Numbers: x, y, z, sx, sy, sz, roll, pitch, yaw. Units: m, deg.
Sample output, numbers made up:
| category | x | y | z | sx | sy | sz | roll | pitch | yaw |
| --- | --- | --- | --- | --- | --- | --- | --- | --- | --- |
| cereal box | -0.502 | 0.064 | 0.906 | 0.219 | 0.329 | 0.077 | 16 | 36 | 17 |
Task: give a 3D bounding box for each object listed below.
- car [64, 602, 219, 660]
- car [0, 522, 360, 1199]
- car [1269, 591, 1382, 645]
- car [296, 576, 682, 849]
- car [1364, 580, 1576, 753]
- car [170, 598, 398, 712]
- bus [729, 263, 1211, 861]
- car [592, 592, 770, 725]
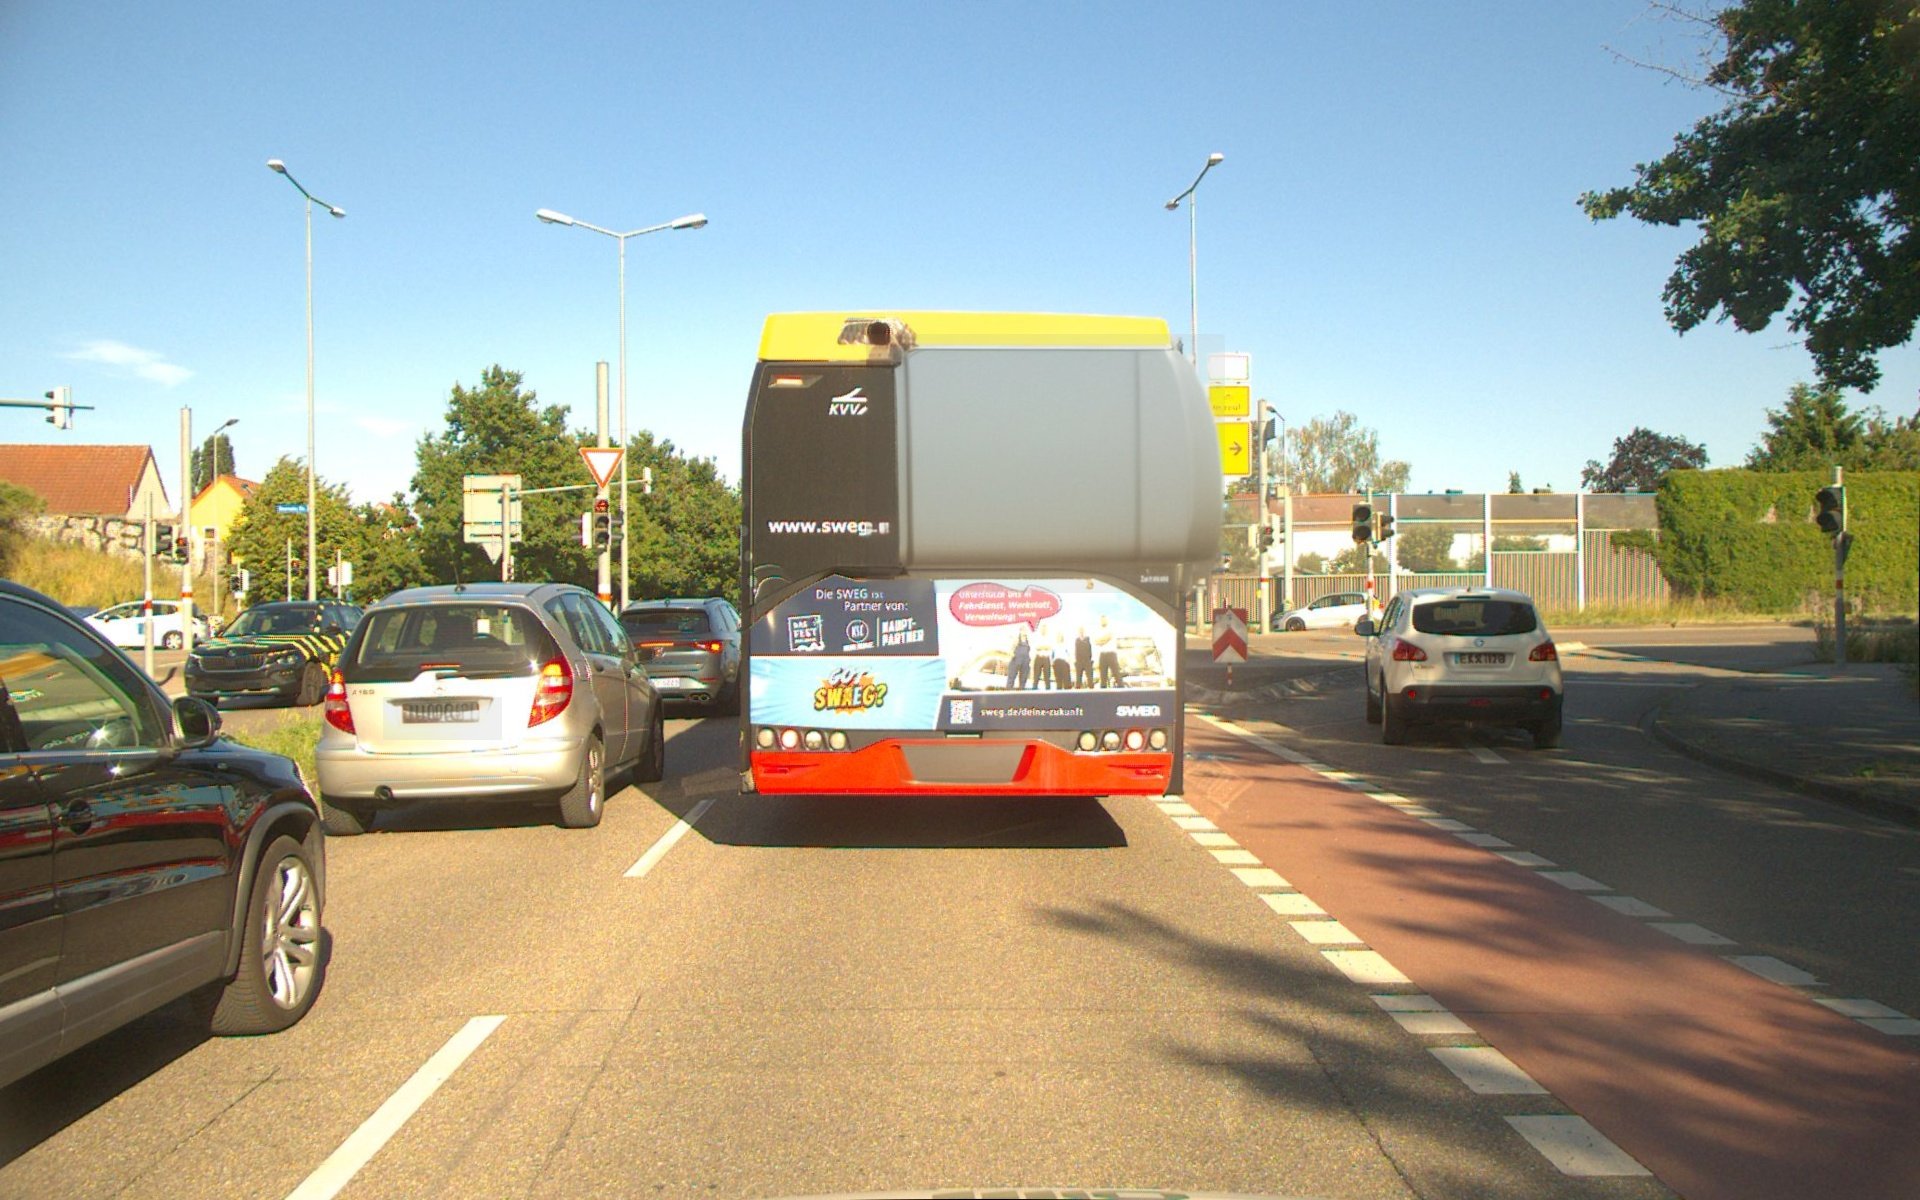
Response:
| category | x | y | z | sx | sy | sz | roll | pitch | yaw |
| --- | --- | --- | --- | --- | --- | --- | --- | --- | --- |
| car | -24.419 | 0.915 | 49.455 | 3.735 | 1.641 | 1.704 | 1 | 0 | -7 |
| car | -3.147 | 0.684 | 4.310 | 1.736 | 1.682 | 3.999 | -2 | 0 | -1 |
| car | 13.290 | 0.649 | 60.165 | 3.902 | 1.847 | 1.924 | 1 | 0 | 13 |
| car | -3.220 | 0.679 | 12.137 | 1.725 | 1.617 | 3.999 | -2 | 0 | -1 |
| car | 5.408 | 0.626 | 18.000 | 1.681 | 1.635 | 4.071 | 1 | 0 | 10 |
| car | -10.260 | 0.778 | 25.439 | 1.726 | 1.552 | 4.081 | -2 | 0 | 1 |
| bus | 0.018 | -0.255 | 14.900 | 2.589 | 3.222 | 11.860 | 0 | 0 | 0 |
| car | -3.452 | 0.673 | 21.065 | 1.658 | 1.484 | 3.750 | -2 | 0 | -1 |
